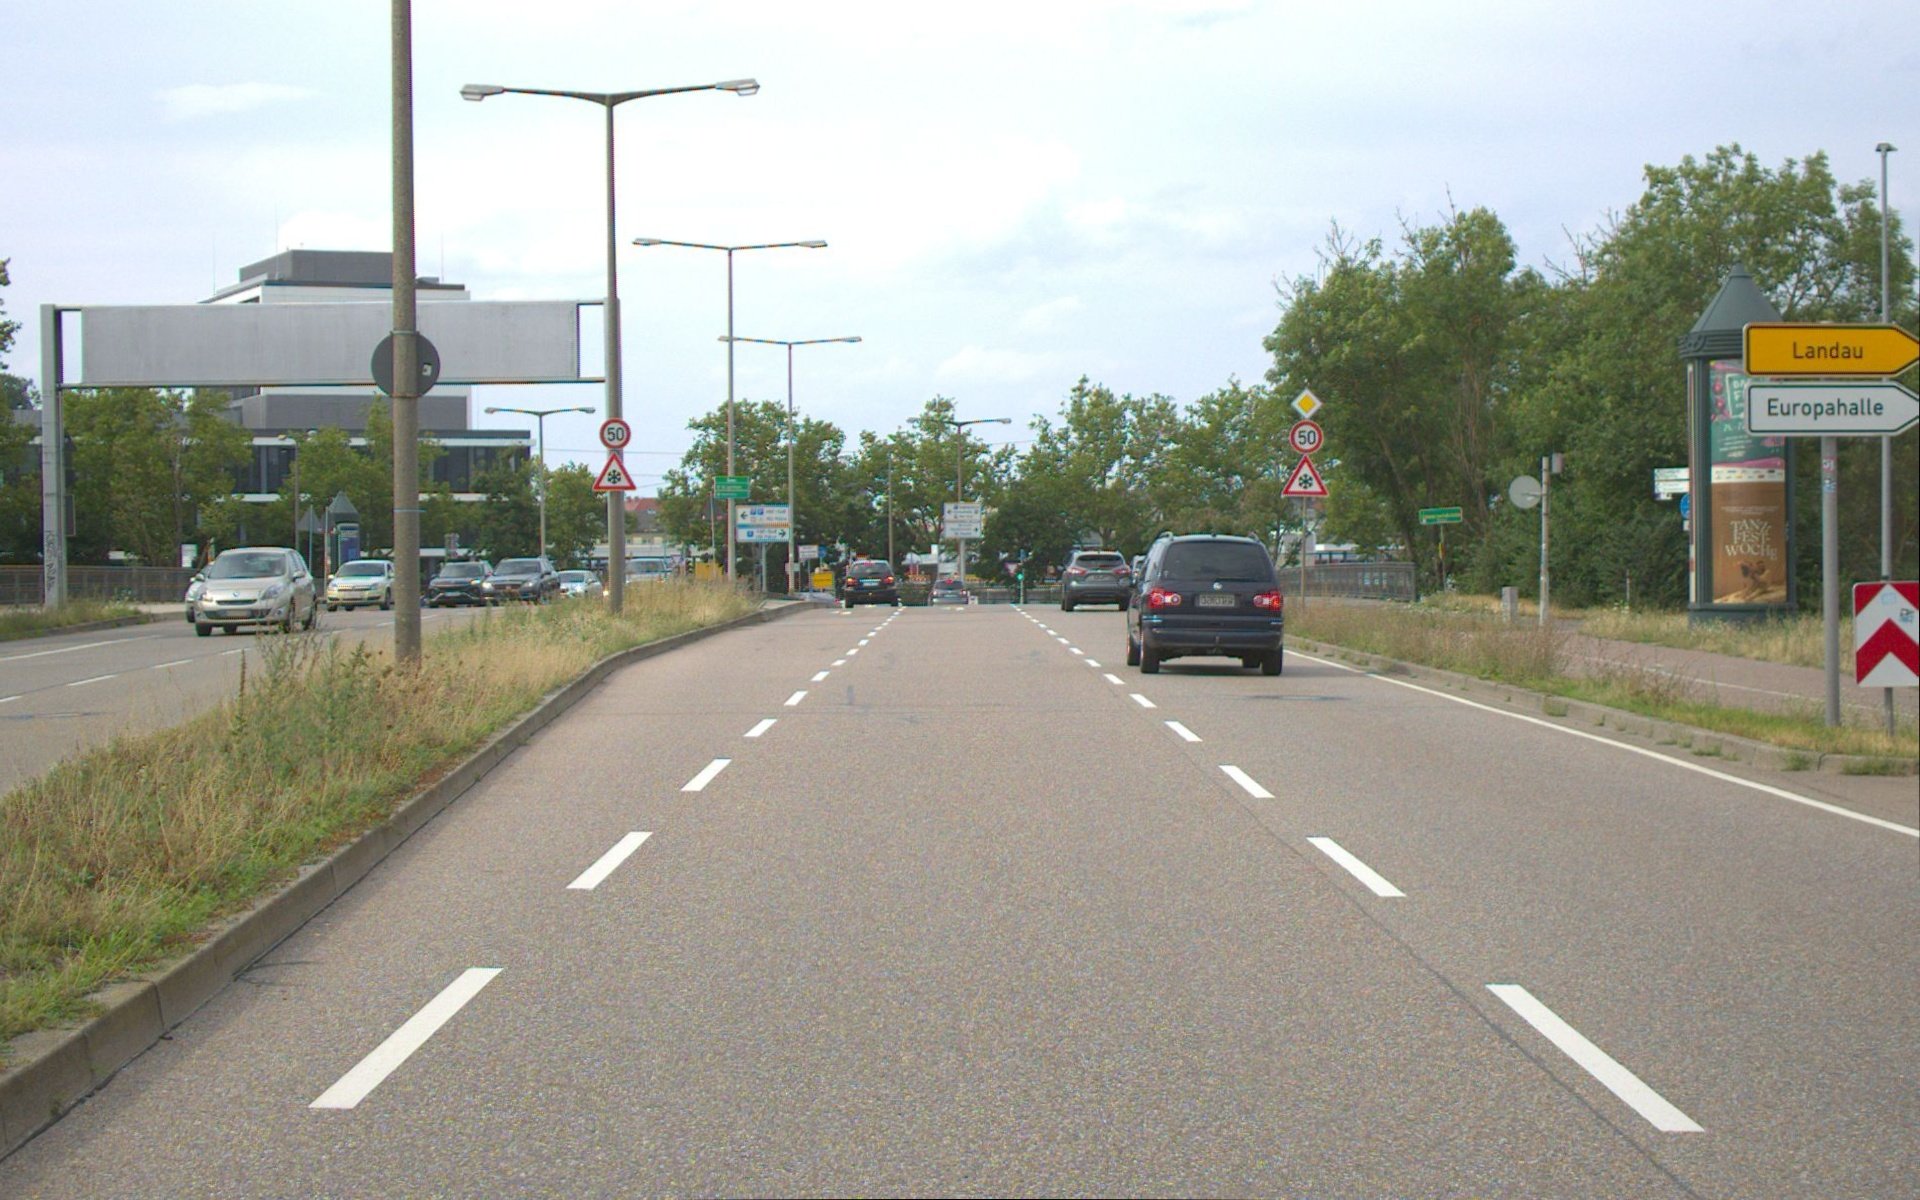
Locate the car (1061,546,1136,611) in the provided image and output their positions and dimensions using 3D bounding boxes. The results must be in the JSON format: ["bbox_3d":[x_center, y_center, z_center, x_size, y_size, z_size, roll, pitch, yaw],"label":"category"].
[{"bbox_3d":[3.664,-0.592,91.370,1.730,1.647,4.115,1,1,-1],"label":"car"}]

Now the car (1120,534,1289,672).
[{"bbox_3d":[3.044,0.006,43.493,1.730,1.647,4.115,1,1,-1],"label":"car"}]

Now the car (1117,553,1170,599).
[{"bbox_3d":[6.047,-0.814,113.528,1.507,1.442,3.140,1,1,-1],"label":"car"}]

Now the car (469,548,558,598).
[{"bbox_3d":[-13.350,-0.805,103.005,1.666,1.420,4.518,-2,0,5],"label":"car"}]

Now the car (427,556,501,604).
[{"bbox_3d":[-16.685,-0.663,115.789,1.793,1.519,4.594,-2,0,0],"label":"car"}]

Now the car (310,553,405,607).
[{"bbox_3d":[-17.142,-0.567,97.914,1.666,1.414,4.313,-3,0,3],"label":"car"}]

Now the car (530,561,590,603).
[{"bbox_3d":[-15.354,-0.692,132.183,1.793,1.519,4.188,-2,0,0],"label":"car"}]

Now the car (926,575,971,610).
[{"bbox_3d":[-0.525,-0.335,155.482,1.730,1.521,4.116,0,1,-4],"label":"car"}]

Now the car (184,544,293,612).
[{"bbox_3d":[-16.853,-0.533,80.450,1.666,1.414,4.093,-2,2,0],"label":"car"}]

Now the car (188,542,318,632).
[{"bbox_3d":[-13.444,-0.277,65.615,1.745,1.593,4.566,-1,1,-3],"label":"car"}]

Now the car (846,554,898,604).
[{"bbox_3d":[-2.978,-0.741,116.879,1.730,1.647,4.115,1,1,-1],"label":"car"}]
